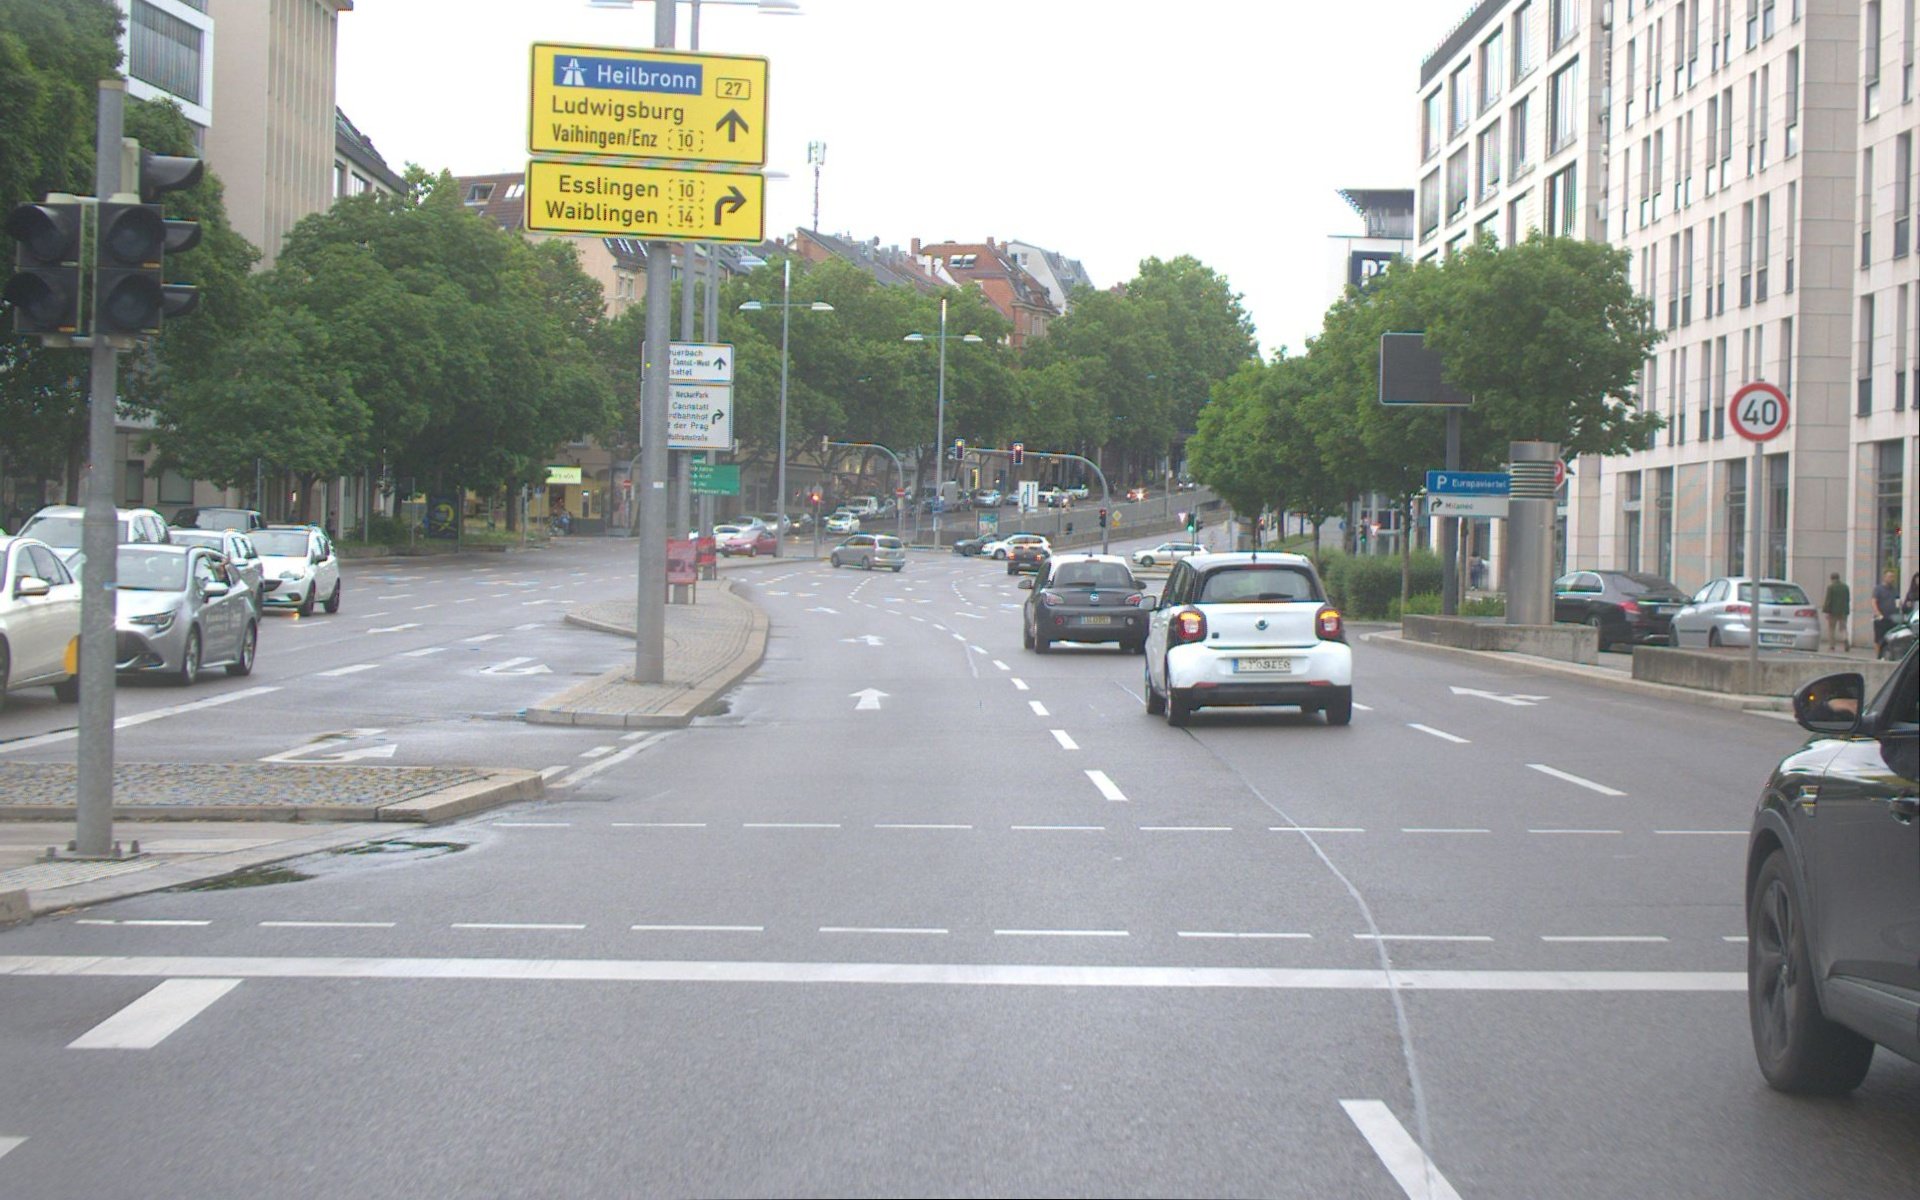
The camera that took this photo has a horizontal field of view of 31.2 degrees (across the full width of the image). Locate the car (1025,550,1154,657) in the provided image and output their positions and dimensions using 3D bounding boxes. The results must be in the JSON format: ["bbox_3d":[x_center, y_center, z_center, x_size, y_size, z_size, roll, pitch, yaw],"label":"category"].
[{"bbox_3d":[1.920,0.038,51.841,1.740,1.526,3.814,1,0,-1],"label":"car"}]

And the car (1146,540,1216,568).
[{"bbox_3d":[12.447,-2.595,193.879,3.803,1.526,1.745,1,1,8],"label":"car"}]

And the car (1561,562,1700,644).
[{"bbox_3d":[11.864,0.039,61.028,1.661,1.396,3.832,1,0,-1],"label":"car"}]

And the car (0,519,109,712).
[{"bbox_3d":[-8.599,0.103,29.227,1.702,1.553,4.245,1,0,-1],"label":"car"}]

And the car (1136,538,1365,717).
[{"bbox_3d":[2.611,0.224,31.636,1.724,1.526,3.814,1,0,-1],"label":"car"}]

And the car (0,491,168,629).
[{"bbox_3d":[-11.733,-0.525,45.421,1.743,1.742,3.540,1,0,-1],"label":"car"}]

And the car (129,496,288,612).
[{"bbox_3d":[-11.769,-0.711,54.046,1.743,1.742,3.540,1,0,-1],"label":"car"}]

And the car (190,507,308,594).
[{"bbox_3d":[-14.710,-1.006,71.285,1.743,1.742,3.540,1,0,-1],"label":"car"}]

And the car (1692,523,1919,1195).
[{"bbox_3d":[3.070,0.599,7.843,1.791,1.501,4.339,1,2,-1],"label":"car"}]

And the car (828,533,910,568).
[{"bbox_3d":[-4.110,-2.234,155.175,1.740,1.526,3.813,-1,2,-39],"label":"car"}]

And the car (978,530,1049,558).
[{"bbox_3d":[3.032,-3.163,193.371,3.803,1.526,1.745,1,1,8],"label":"car"}]

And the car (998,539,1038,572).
[{"bbox_3d":[2.723,-2.104,162.020,1.740,1.526,3.814,1,0,-1],"label":"car"}]

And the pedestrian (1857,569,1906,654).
[{"bbox_3d":[16.727,0.212,62.388,0.674,1.523,0.726,1,0,-1],"label":"pedestrian"}]

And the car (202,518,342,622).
[{"bbox_3d":[-11.918,-0.521,59.751,1.743,1.742,3.540,1,0,-1],"label":"car"}]

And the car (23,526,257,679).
[{"bbox_3d":[-8.336,0.012,35.206,1.538,1.472,3.696,1,0,-1],"label":"car"}]

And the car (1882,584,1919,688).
[{"bbox_3d":[12.474,0.448,41.854,1.506,1.261,3.502,1,0,-1],"label":"car"}]

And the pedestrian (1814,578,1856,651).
[{"bbox_3d":[18.355,0.300,72.140,0.674,1.523,0.726,1,0,-1],"label":"pedestrian"}]

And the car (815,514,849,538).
[{"bbox_3d":[-8.521,-4.937,229.222,1.740,1.526,3.813,1,1,6],"label":"car"}]

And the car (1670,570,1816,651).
[{"bbox_3d":[12.597,0.153,55.441,1.506,1.261,3.502,1,0,-1],"label":"car"}]

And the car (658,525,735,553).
[{"bbox_3d":[-14.352,-3.316,187.195,3.802,1.526,1.745,0,2,-34],"label":"car"}]
